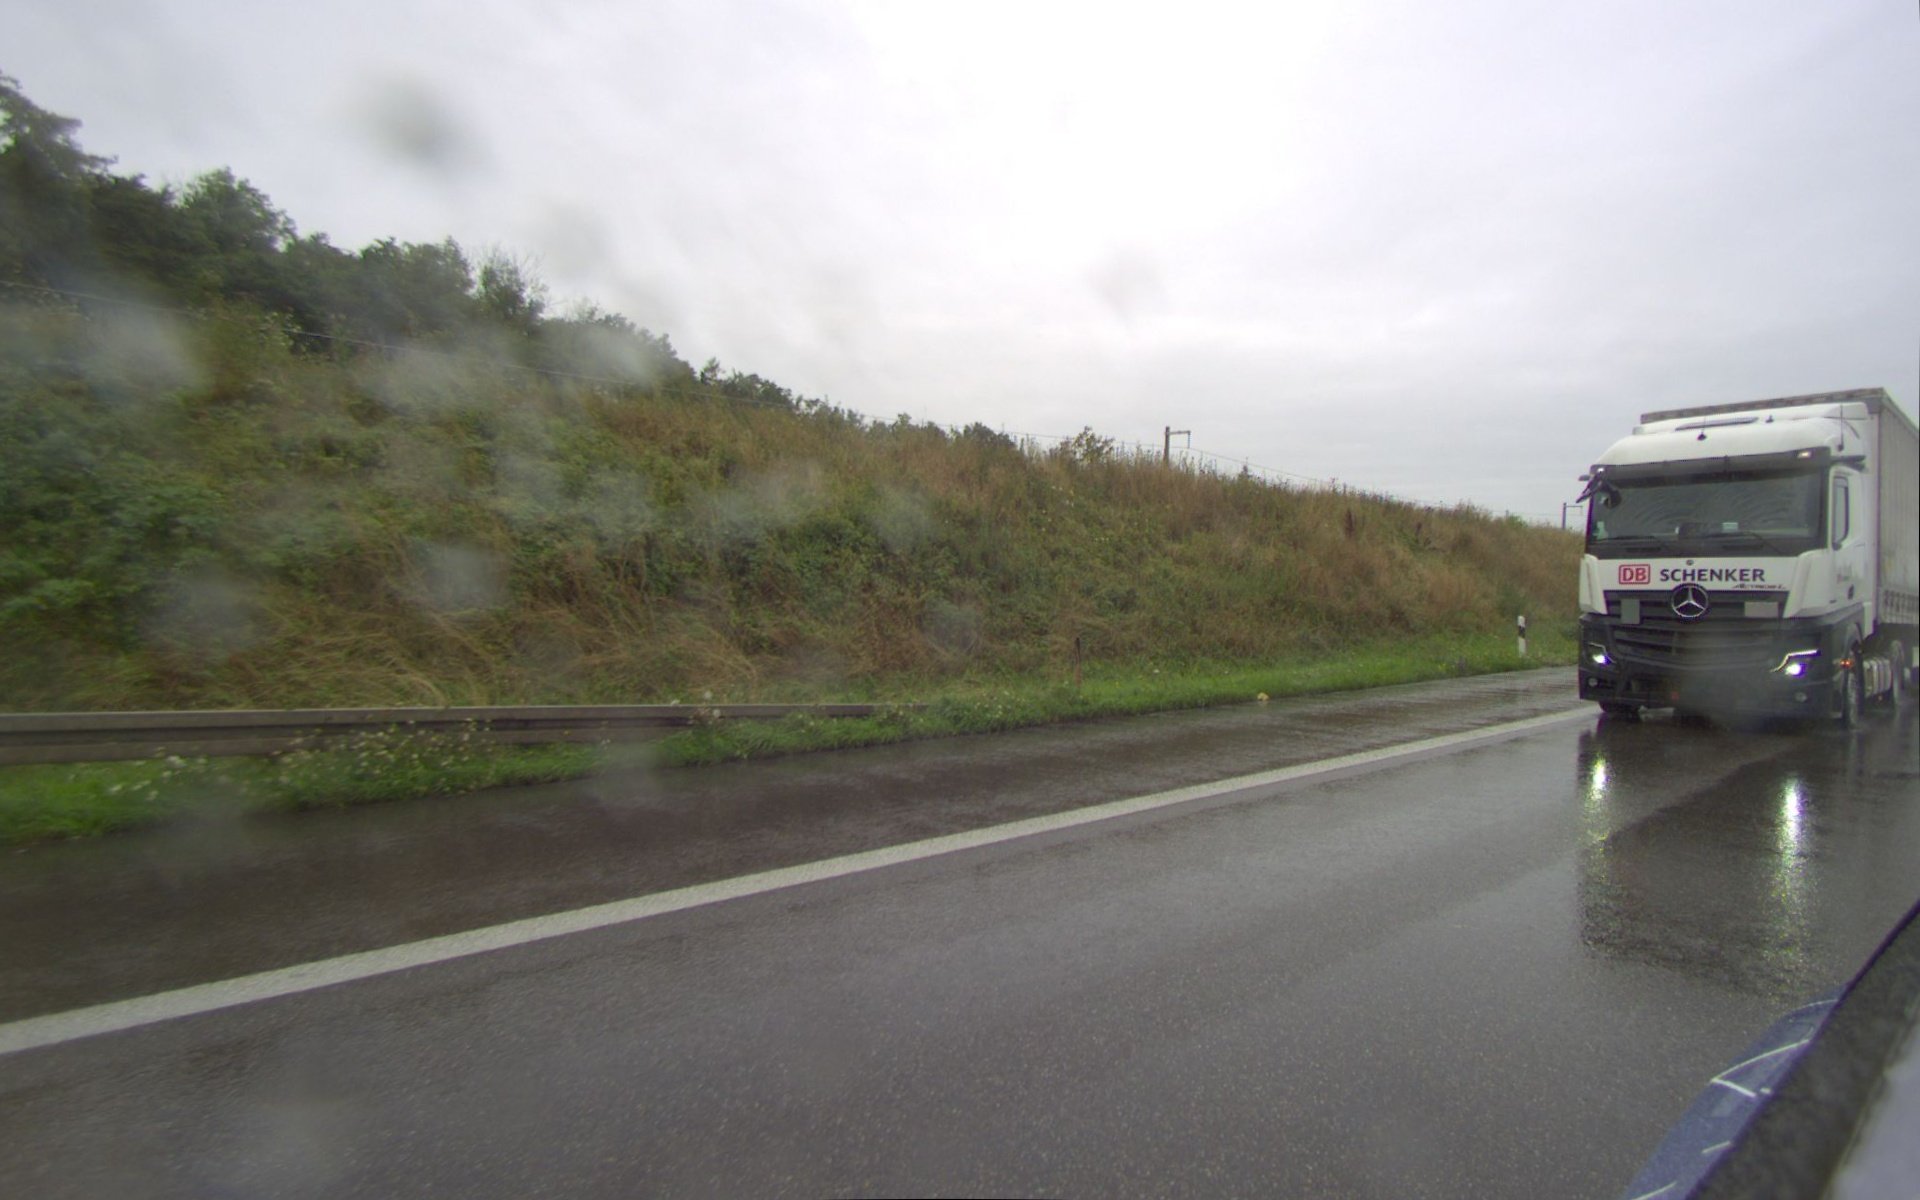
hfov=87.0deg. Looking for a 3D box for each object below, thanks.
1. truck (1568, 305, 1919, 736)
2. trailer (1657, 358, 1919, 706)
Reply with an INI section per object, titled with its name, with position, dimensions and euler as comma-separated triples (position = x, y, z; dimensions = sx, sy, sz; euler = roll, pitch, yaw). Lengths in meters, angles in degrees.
[truck]
position = 10.007, -0.832, 12.777
dimensions = 4.956, 4.307, 2.630
euler = -1, 0, -41
[trailer]
position = 16.126, -0.928, 18.082
dimensions = 13.928, 4.302, 2.631
euler = -1, 1, -41
